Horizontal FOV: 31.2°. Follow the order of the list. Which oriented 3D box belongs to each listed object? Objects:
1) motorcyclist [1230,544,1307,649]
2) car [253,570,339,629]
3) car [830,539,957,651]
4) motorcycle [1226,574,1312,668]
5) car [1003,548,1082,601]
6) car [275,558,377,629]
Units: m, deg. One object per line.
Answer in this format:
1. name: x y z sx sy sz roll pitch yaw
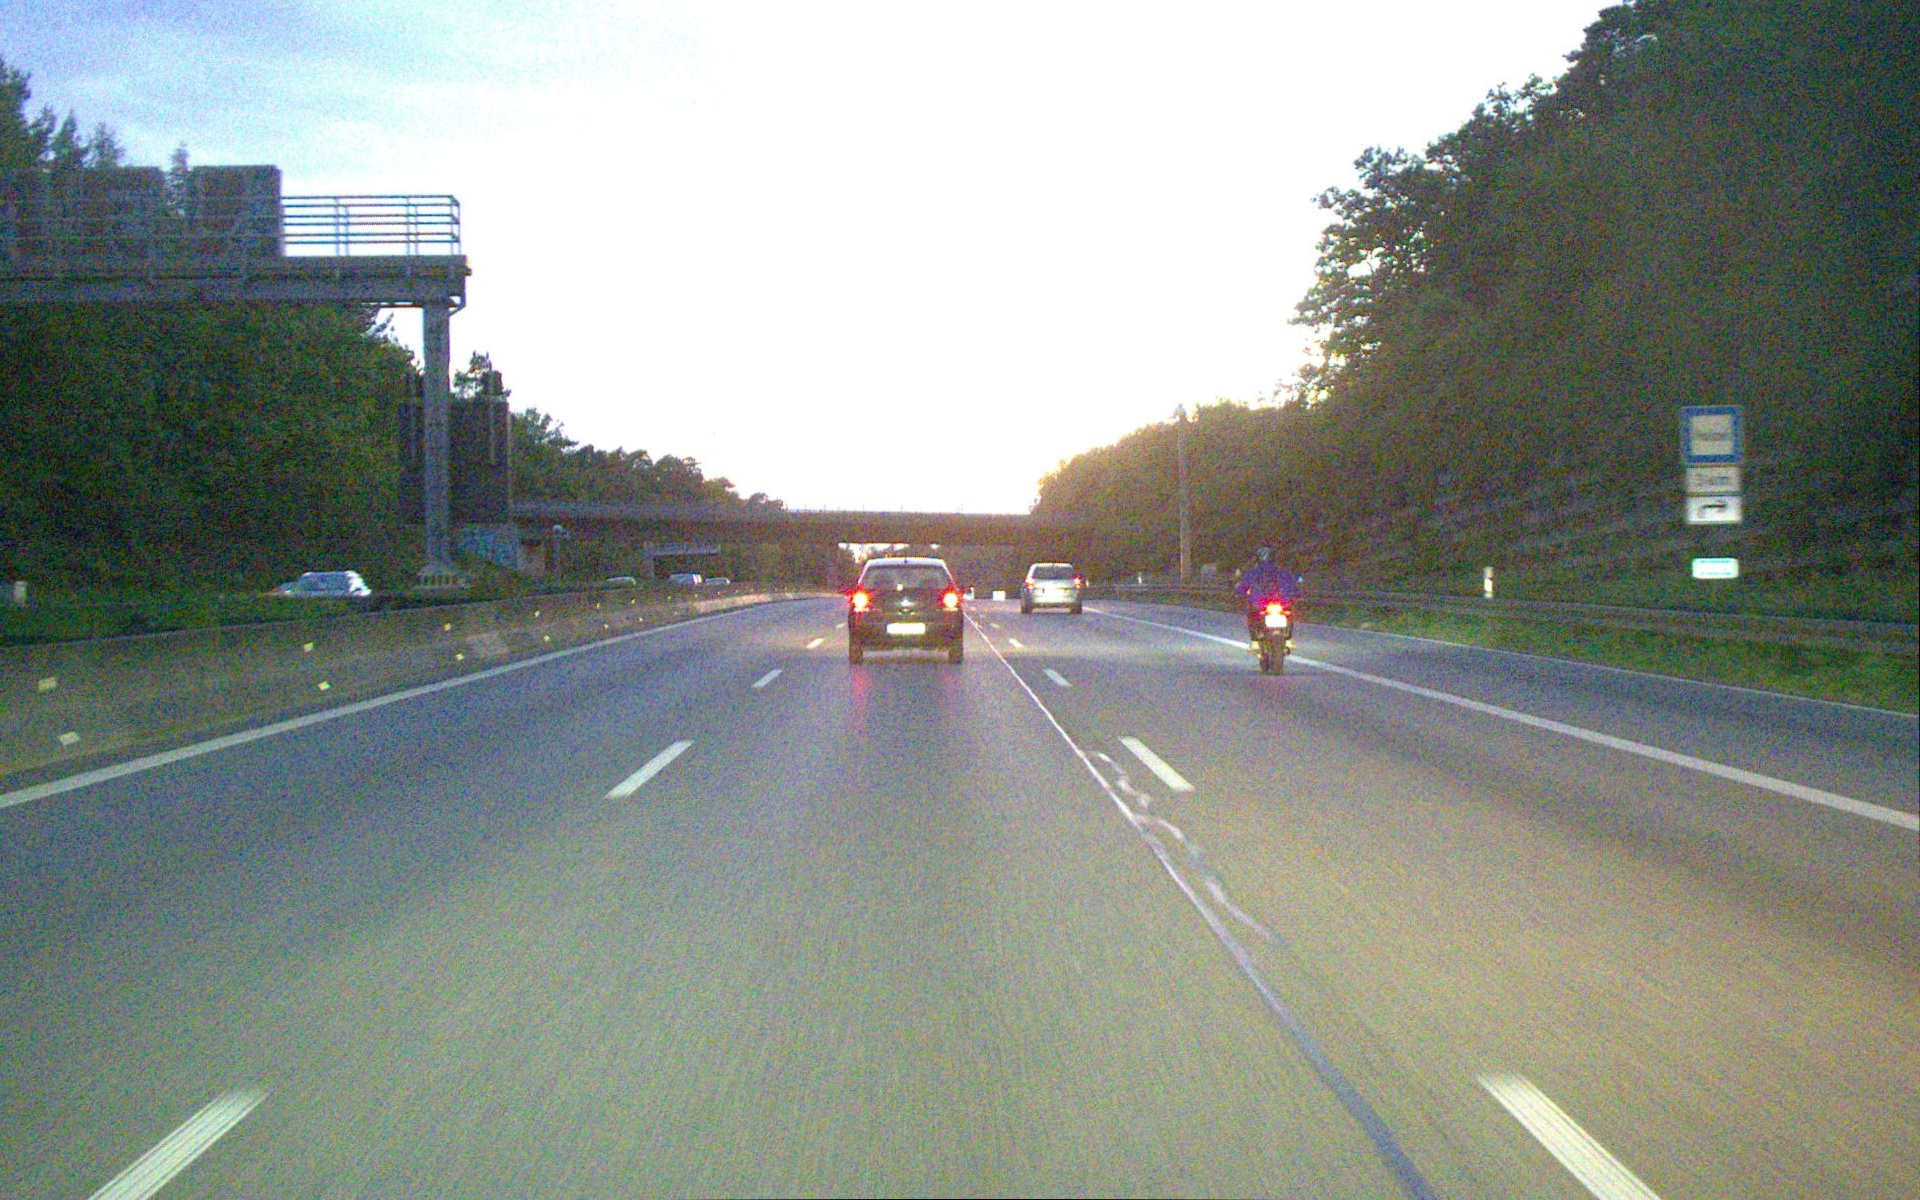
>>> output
1. motorcyclist: 3.854 -0.053 43.014 0.829 1.287 1.190 0 1 -1
2. car: -20.416 -0.040 105.912 1.916 1.759 5.009 -1 1 -3
3. car: -0.927 -0.079 49.186 1.704 1.504 4.232 1 0 0
4. motorcycle: 3.852 0.245 43.086 0.829 1.130 2.476 0 1 -1
5. car: 2.430 -0.763 102.158 1.865 1.489 4.399 1 0 -5
6. car: -16.459 -0.189 89.395 1.916 1.759 5.009 -1 1 -2
